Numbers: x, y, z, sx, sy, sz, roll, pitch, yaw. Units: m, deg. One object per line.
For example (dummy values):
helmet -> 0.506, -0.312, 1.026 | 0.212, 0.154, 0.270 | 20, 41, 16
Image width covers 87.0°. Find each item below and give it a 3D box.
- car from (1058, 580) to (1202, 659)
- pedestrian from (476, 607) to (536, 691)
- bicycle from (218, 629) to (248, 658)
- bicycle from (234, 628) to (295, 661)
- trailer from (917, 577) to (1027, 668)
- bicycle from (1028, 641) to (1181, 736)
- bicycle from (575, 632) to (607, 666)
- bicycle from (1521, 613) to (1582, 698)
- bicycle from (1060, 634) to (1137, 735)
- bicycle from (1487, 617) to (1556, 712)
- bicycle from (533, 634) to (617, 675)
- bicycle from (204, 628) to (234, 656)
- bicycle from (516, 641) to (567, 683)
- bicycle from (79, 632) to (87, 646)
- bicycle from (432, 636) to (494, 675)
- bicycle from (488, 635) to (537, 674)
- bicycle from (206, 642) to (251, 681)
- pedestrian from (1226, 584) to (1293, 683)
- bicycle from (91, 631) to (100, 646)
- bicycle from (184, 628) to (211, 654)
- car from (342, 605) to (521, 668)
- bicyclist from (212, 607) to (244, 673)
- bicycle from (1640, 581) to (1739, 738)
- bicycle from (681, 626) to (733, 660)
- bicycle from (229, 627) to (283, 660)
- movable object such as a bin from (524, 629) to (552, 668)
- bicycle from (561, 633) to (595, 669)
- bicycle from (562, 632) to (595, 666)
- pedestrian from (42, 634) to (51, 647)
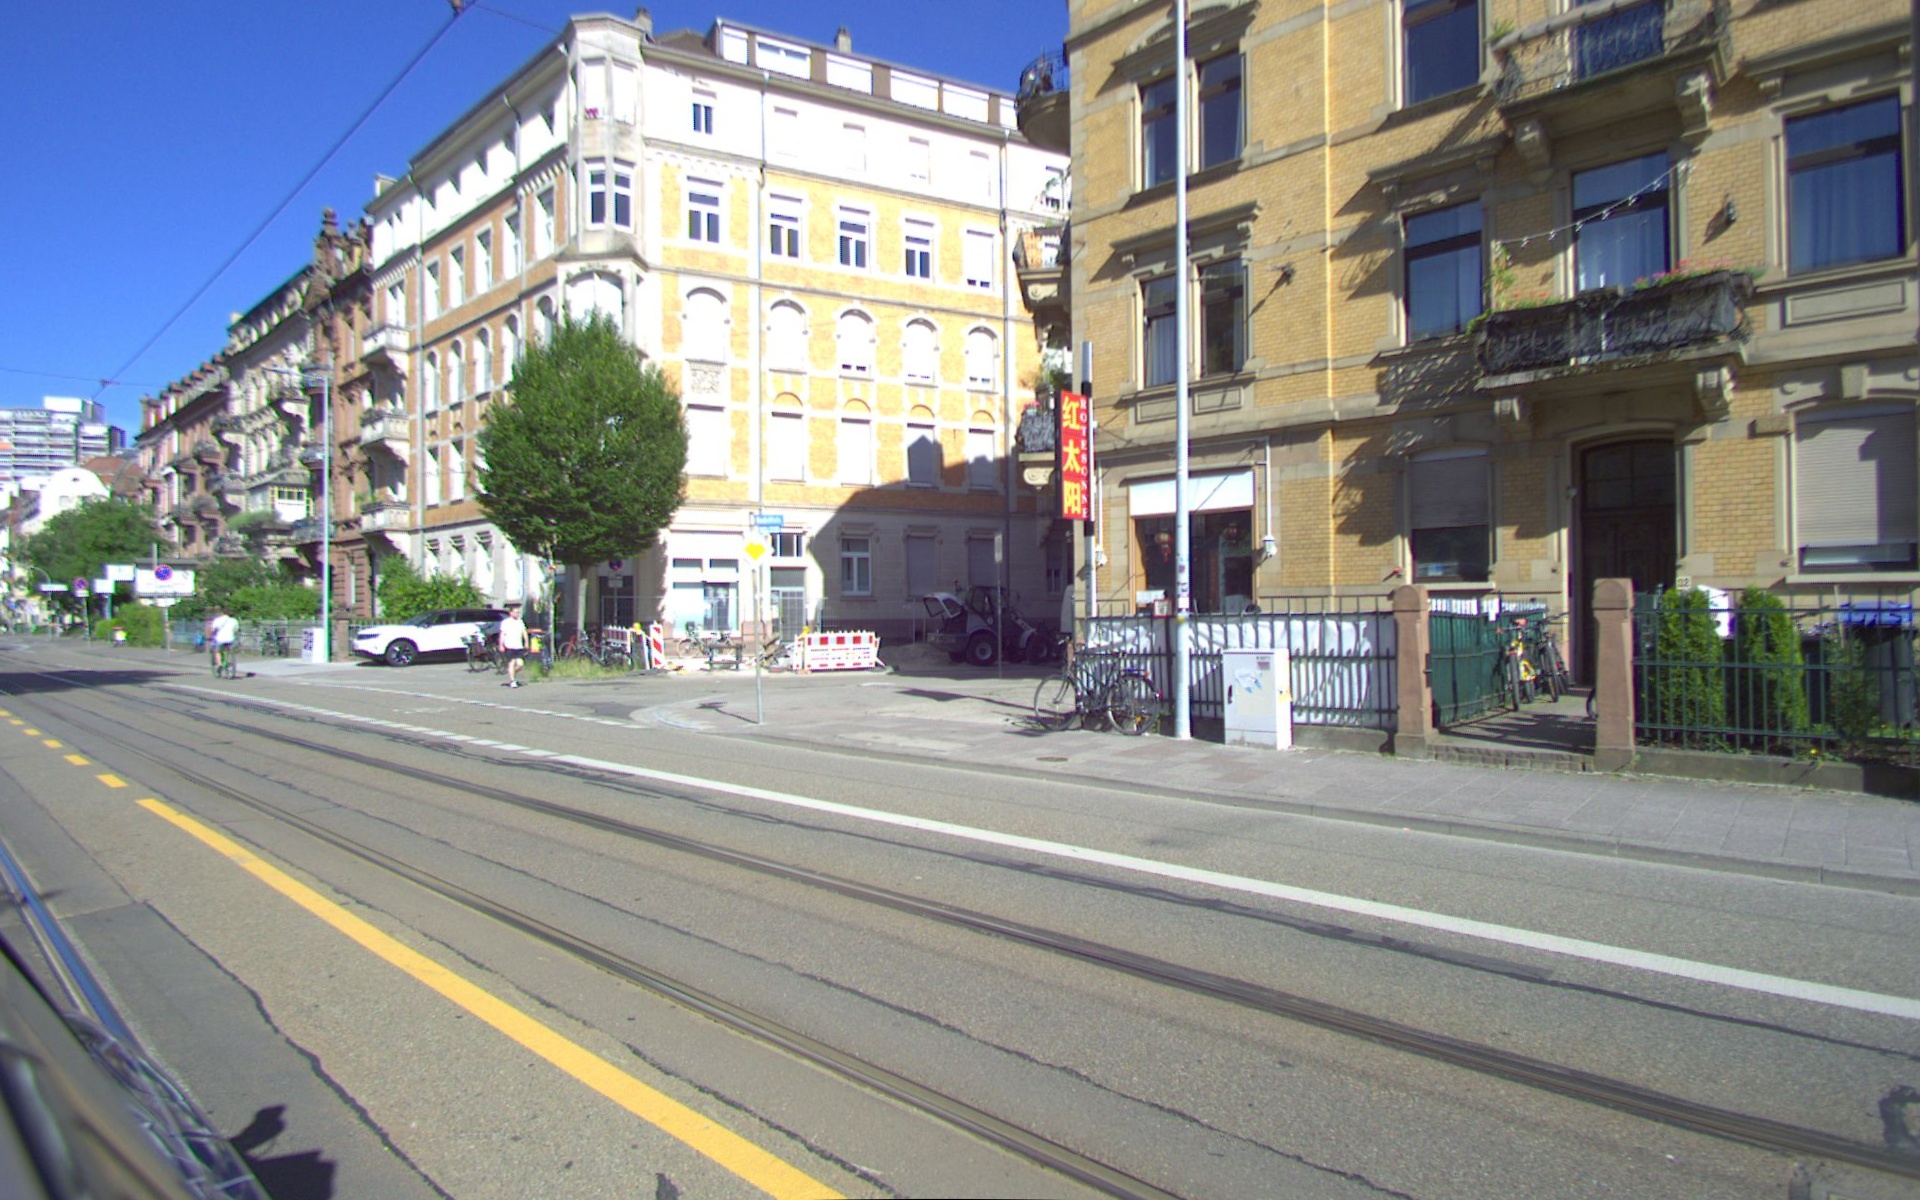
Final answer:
car -> 5.914, 0.603, 35.258 | 4.556, 2.521, 2.007 | -2, 2, -23
pedestrian -> -9.787, 1.030, 21.822 | 1.082, 1.736, 0.820 | 0, 1, 43
bicycle -> -27.762, 1.653, 38.637 | 1.767, 1.041, 0.557 | -2, 0, 41
bicycle -> -23.944, 1.544, 34.851 | 1.745, 1.041, 0.564 | -3, -1, 6
trailer -> 0.355, 0.711, 31.401 | 2.878, 2.716, 1.834 | 2, -1, -25
bicycle -> 1.641, 0.990, 11.733 | 1.869, 1.008, 0.331 | -2, 0, 42
bicycle -> -10.818, 1.425, 29.698 | 0.244, 0.921, 1.540 | 0, 0, 6
bicycle -> 7.552, 0.685, 12.899 | 0.389, 0.982, 1.520 | -2, 0, 40
bicycle -> 1.628, 0.980, 11.962 | 0.808, 1.135, 0.367 | -2, 0, 42
bicycle -> 6.516, 0.714, 11.720 | 0.389, 0.982, 1.520 | -2, 0, 40
bicycle -> -9.779, 1.387, 25.740 | 1.964, 0.983, 0.579 | -1, 0, 7
bicycle -> -29.269, 1.661, 39.982 | 1.767, 1.041, 0.557 | -2, 0, 41
bicycle -> -10.196, 1.499, 24.701 | 0.613, 0.921, 1.292 | 0, 0, 6
bicycle -> -61.208, 2.720, 70.626 | 0.338, 0.933, 1.944 | -1, 0, -43
bicycle -> -13.000, 1.441, 26.535 | 0.613, 0.921, 1.785 | 0, 0, 6
bicycle -> -11.650, 1.410, 26.400 | 0.613, 0.921, 1.292 | 0, 0, 6
bicycle -> -18.421, 1.531, 25.469 | 2.202, 0.933, 0.455 | -2, -3, 42
pedestrian -> 4.272, 0.477, 14.416 | 0.577, 1.363, 0.891 | -1, -3, 43
bicycle -> -56.837, 2.519, 66.557 | 0.338, 0.933, 1.944 | -1, 0, -43
bicycle -> -32.114, 1.739, 42.611 | 1.767, 1.041, 0.557 | -3, -1, 42
car -> -15.919, 1.051, 30.634 | 1.967, 1.656, 4.396 | -1, 0, 44
bicyclist -> -18.475, 1.017, 25.538 | 0.744, 1.631, 0.459 | -2, -4, 42
bicycle -> 6.821, 0.502, 9.530 | 0.612, 1.330, 1.748 | -2, 0, 32
bicycle -> -8.255, 1.406, 33.052 | 1.576, 1.045, 0.407 | -2, -2, -23
bicycle -> -25.106, 1.554, 36.094 | 1.752, 1.041, 0.562 | -3, 2, 18
movable object such as a bin -> -12.011, 1.364, 28.793 | 0.568, 1.079, 0.718 | -1, 0, -35
bicycle -> -10.268, 1.358, 27.219 | 0.611, 0.921, 1.297 | 0, 0, -10
bicycle -> -11.181, 1.421, 29.709 | 0.244, 0.921, 1.540 | 0, 0, 6
pedestrian -> -97.858, 4.318, 108.373 | 0.724, 1.291, 0.650 | -2, 0, 42
